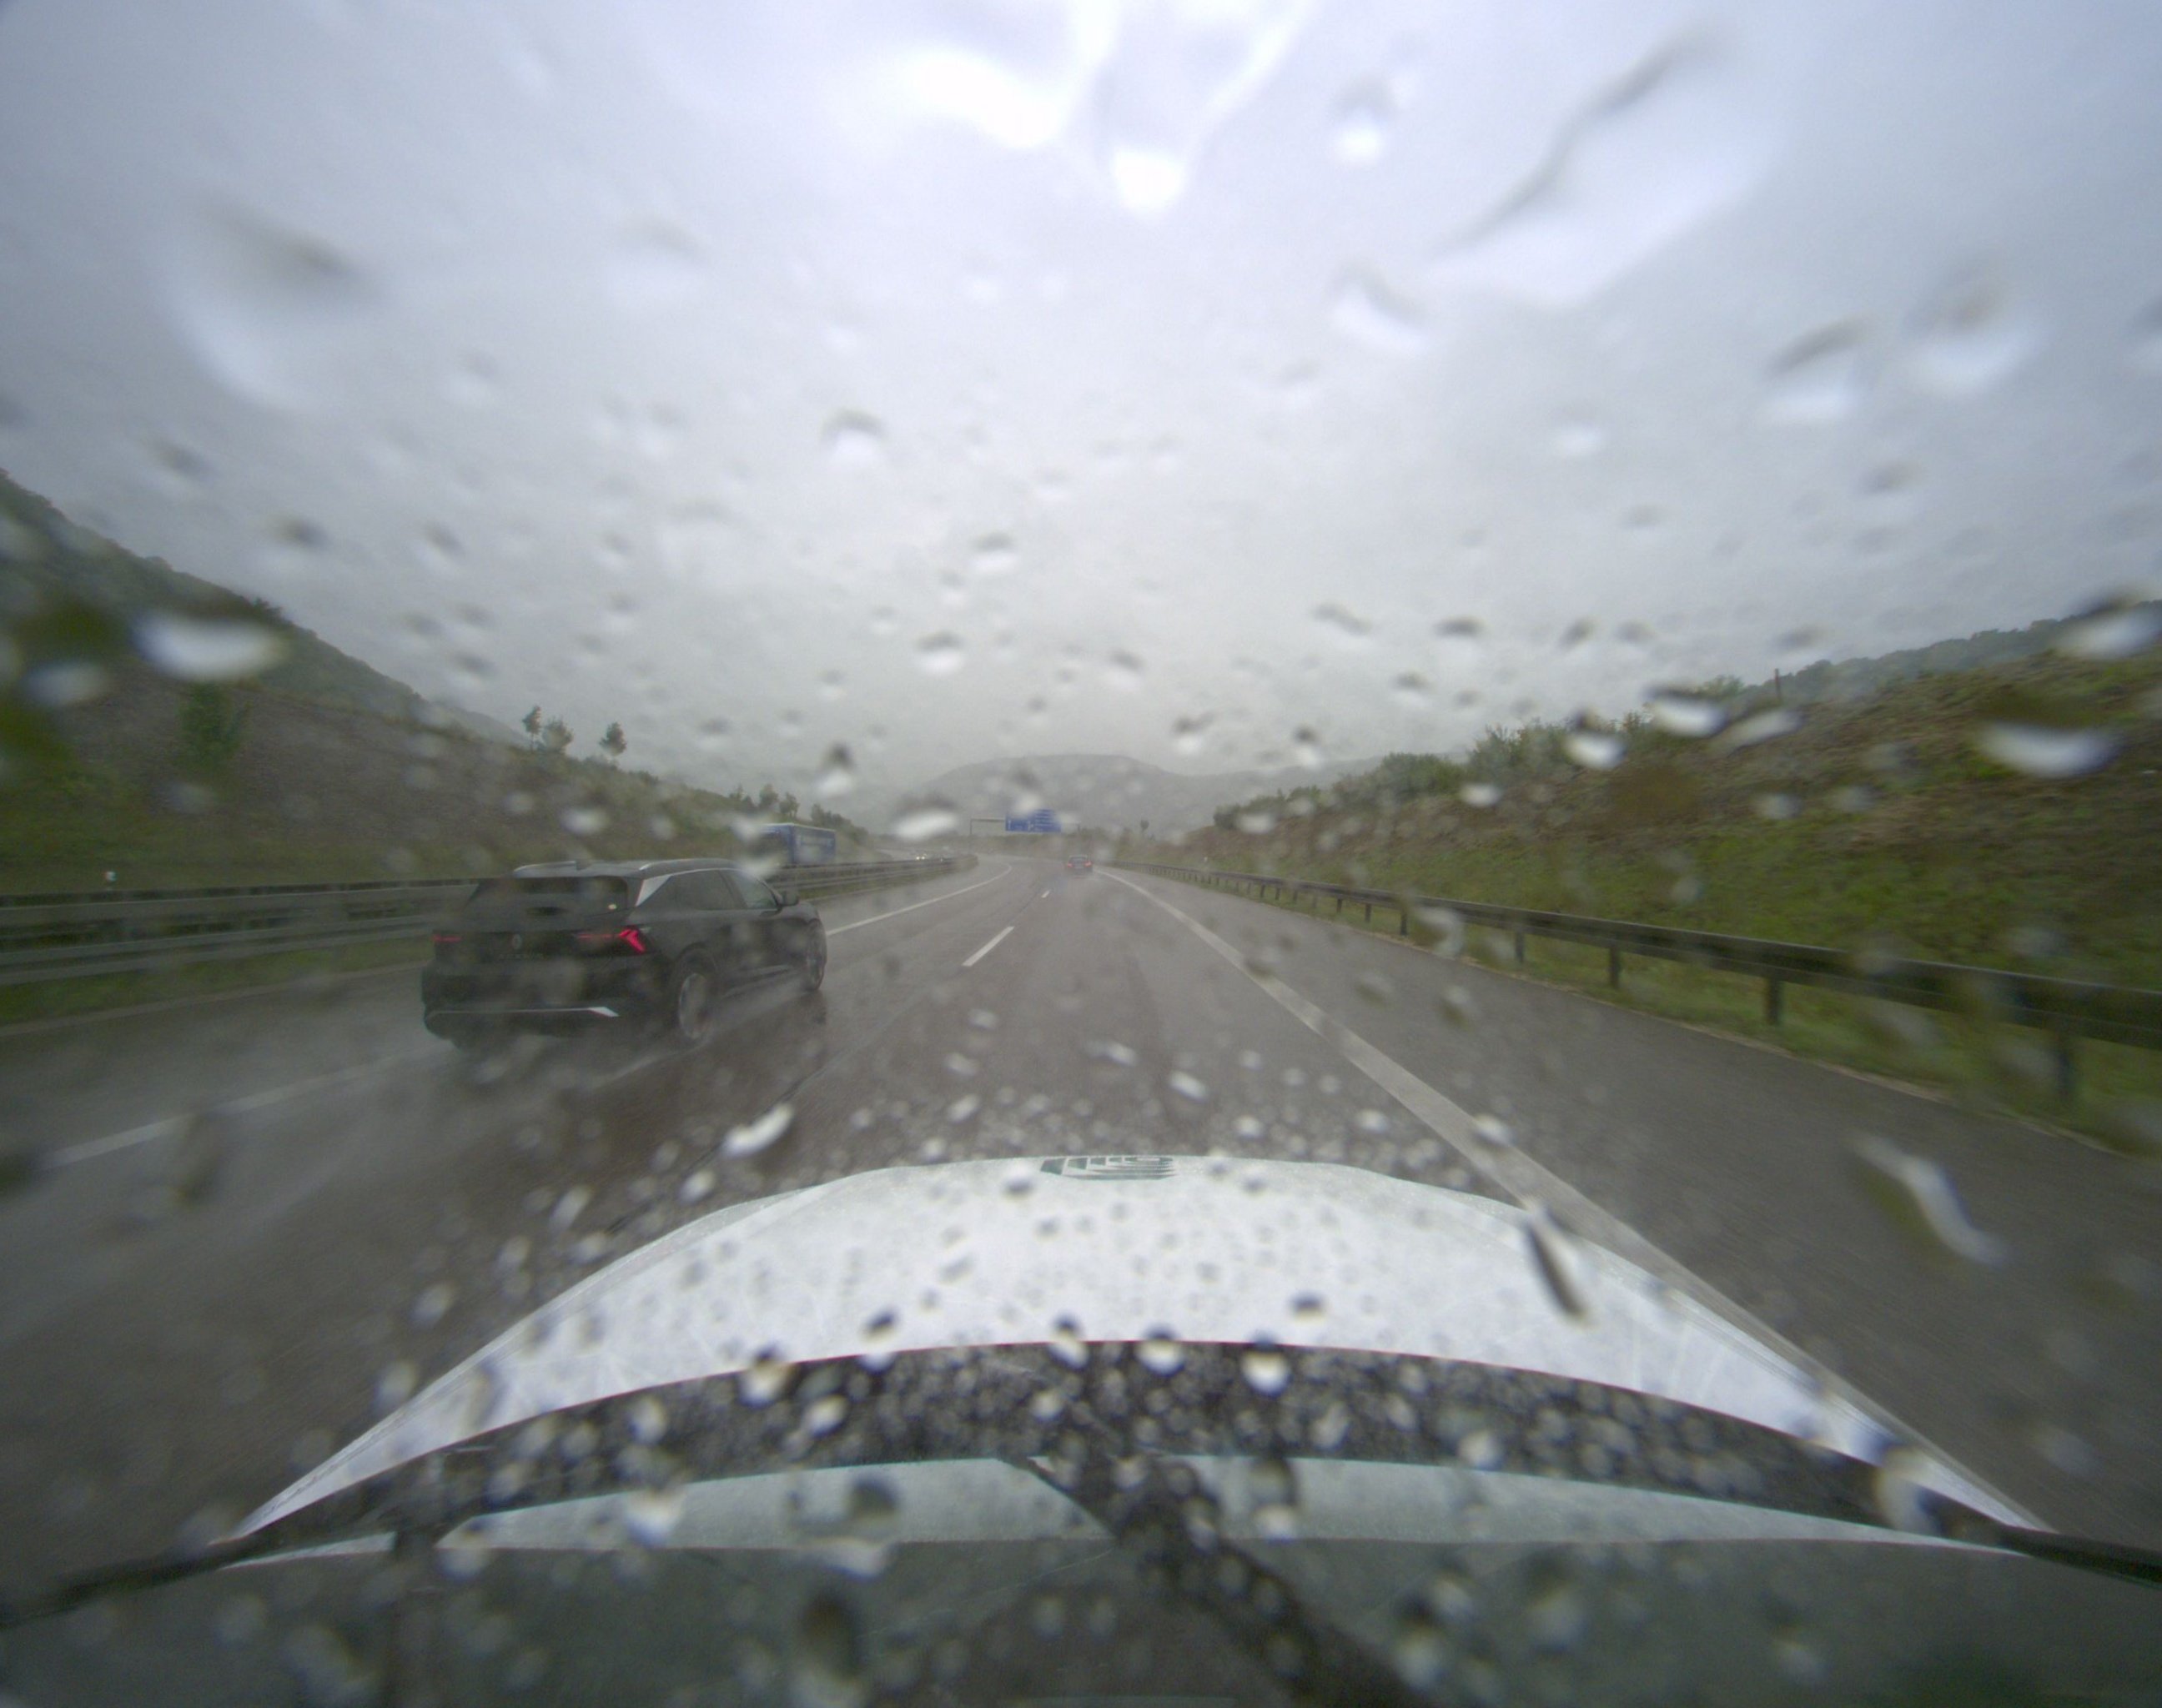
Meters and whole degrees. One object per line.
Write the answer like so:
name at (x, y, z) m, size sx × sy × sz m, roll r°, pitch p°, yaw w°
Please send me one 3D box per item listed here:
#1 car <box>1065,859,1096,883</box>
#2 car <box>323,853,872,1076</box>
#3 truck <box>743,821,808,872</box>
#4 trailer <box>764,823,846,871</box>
car at (-0.013, 1.052, 52.344) m, size 1.671 × 1.472 × 3.819 m, roll 0°, pitch 0°, yaw 4°
car at (-3.924, 0.758, 7.968) m, size 2.397 × 1.515 × 4.785 m, roll 0°, pitch 0°, yaw 1°
truck at (-23.275, -0.576, 62.402) m, size 2.773 × 3.683 × 6.203 m, roll -1°, pitch 0°, yaw -2°
trailer at (-23.451, -0.544, 70.144) m, size 2.805 × 3.681 × 13.238 m, roll -1°, pitch 0°, yaw -1°
